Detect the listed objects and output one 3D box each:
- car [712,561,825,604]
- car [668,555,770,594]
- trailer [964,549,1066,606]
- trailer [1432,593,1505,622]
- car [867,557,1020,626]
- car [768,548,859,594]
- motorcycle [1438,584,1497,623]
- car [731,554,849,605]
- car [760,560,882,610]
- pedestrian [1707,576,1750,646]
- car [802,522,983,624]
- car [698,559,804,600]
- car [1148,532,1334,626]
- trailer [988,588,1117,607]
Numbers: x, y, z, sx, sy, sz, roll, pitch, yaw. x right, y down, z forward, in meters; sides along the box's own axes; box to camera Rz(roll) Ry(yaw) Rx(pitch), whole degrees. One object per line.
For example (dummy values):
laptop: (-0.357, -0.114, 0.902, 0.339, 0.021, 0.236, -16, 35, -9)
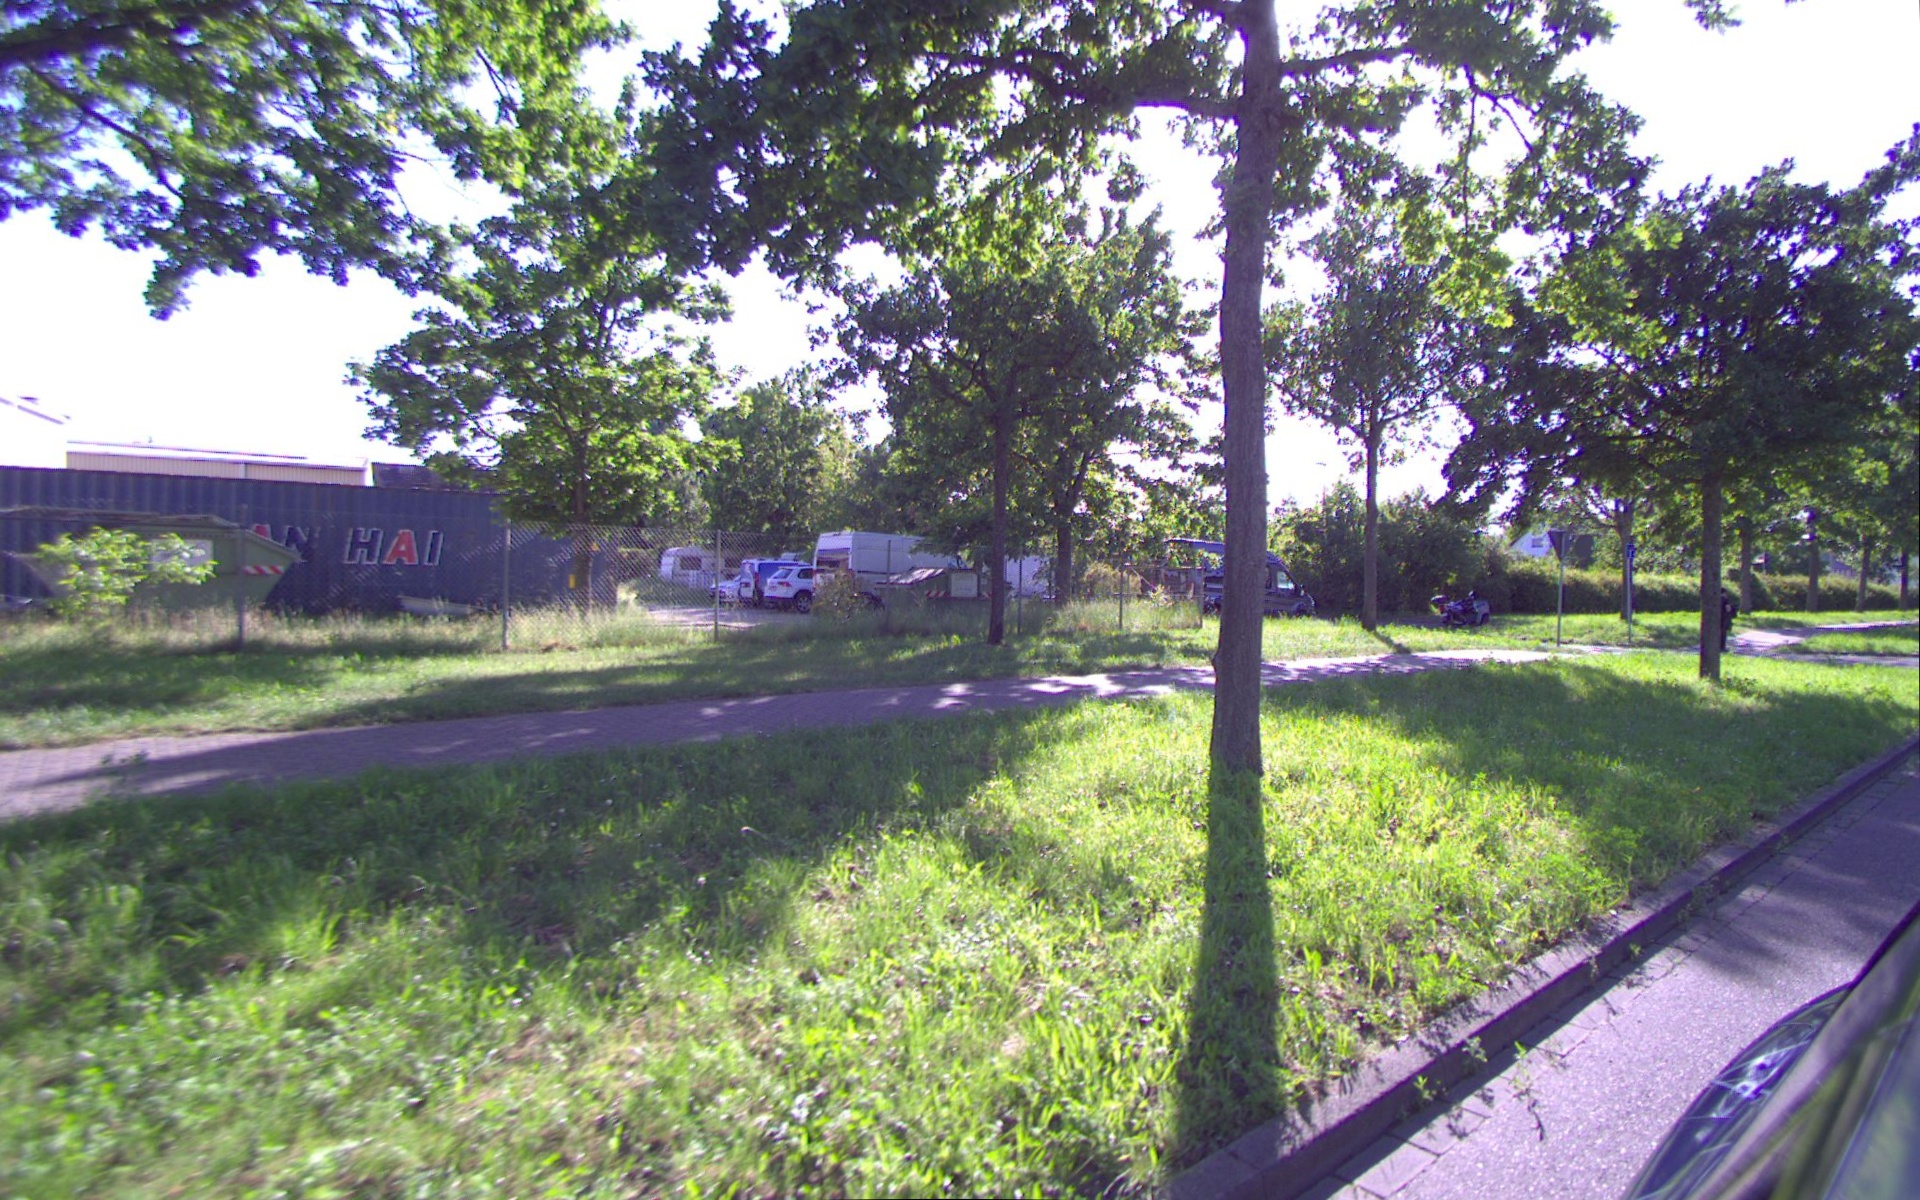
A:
car: (-7.630, -0.682, 40.374, 3.922, 1.612, 2.002, 0, 2, -32)
car: (-10.583, -1.132, 44.548, 3.922, 1.612, 2.002, 0, 2, -32)
trailer: (2.357, -0.946, 43.508, 3.712, 2.336, 2.200, 0, 2, -28)
trailer: (19.429, 0.276, 38.680, 2.013, 0.878, 1.586, -4, 4, -28)
car: (-0.415, -0.242, 26.635, 3.533, 1.685, 2.010, 0, 2, -40)
car: (-9.802, -1.938, 67.995, 5.567, 2.947, 2.344, -1, 0, -30)
motorcycle: (18.480, 0.117, 36.813, 2.359, 1.246, 0.666, -4, 4, -28)
car: (-6.454, -0.785, 38.422, 3.922, 1.845, 2.002, 0, 2, -32)
car: (-4.878, -0.523, 35.469, 3.915, 1.660, 1.845, 1, 2, -19)
pedestrian: (20.783, 0.274, 27.371, 0.852, 1.835, 0.727, 0, 2, -40)
car: (-1.872, -0.742, 28.857, 4.764, 2.676, 2.165, 0, 2, -40)
car: (-8.760, -0.853, 42.444, 3.922, 1.612, 2.002, 0, 2, -32)
car: (9.047, -0.597, 32.436, 5.849, 2.599, 2.094, 3, -2, -28)
trailer: (3.711, -0.116, 40.532, 4.724, 0.659, 2.239, 0, 2, -28)
